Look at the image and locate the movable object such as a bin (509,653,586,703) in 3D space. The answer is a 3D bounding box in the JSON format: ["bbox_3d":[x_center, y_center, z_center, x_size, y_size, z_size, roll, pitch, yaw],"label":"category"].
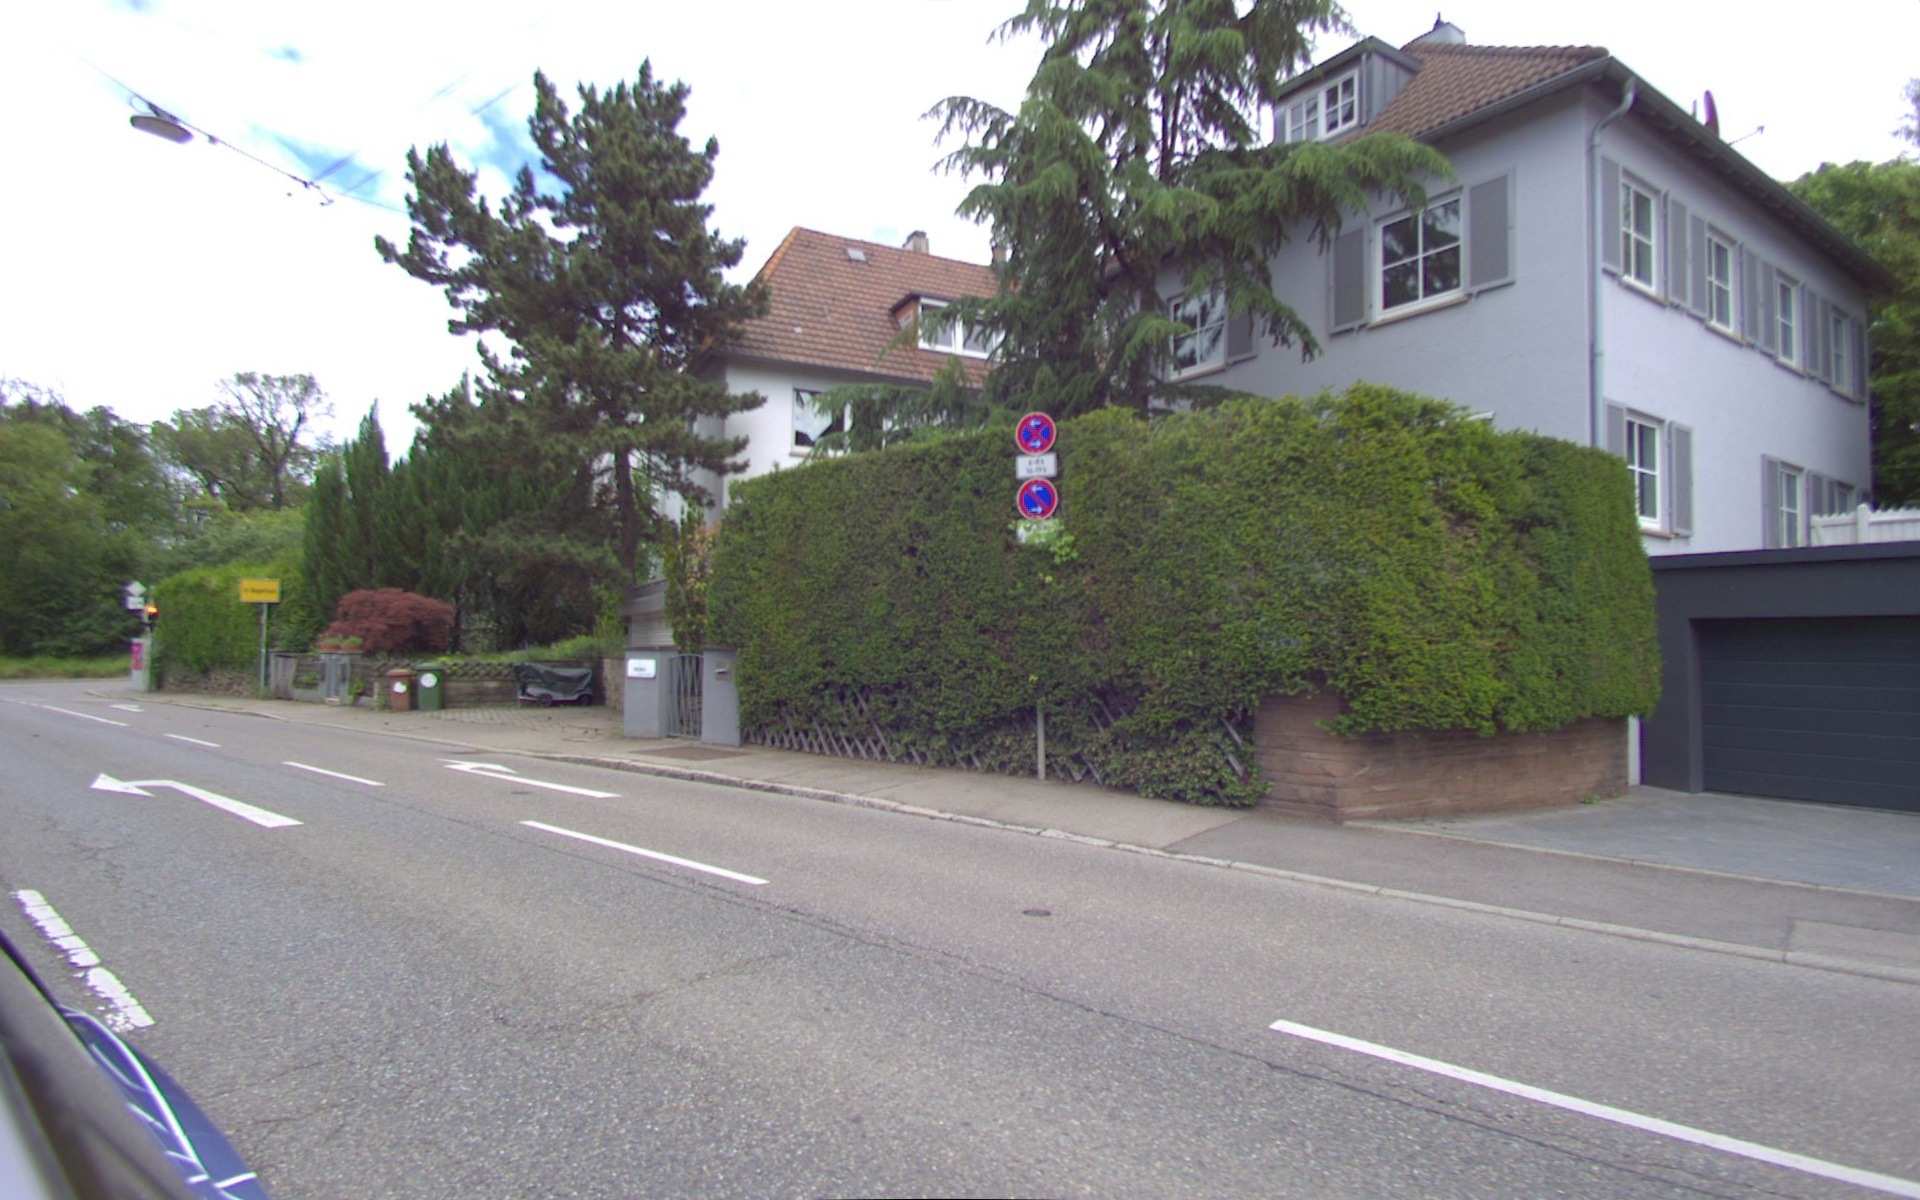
[{"bbox_3d":[-9.452,1.781,23.243,1.570,1.089,0.719,0,-2,-18],"label":"movable object such as a bin"}]

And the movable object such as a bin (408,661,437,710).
[{"bbox_3d":[-11.962,1.893,22.548,0.472,1.042,0.718,0,-3,-21],"label":"movable object such as a bin"}]

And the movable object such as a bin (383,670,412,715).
[{"bbox_3d":[-12.430,2.034,22.389,0.457,0.949,0.649,0,-3,-21],"label":"movable object such as a bin"}]
